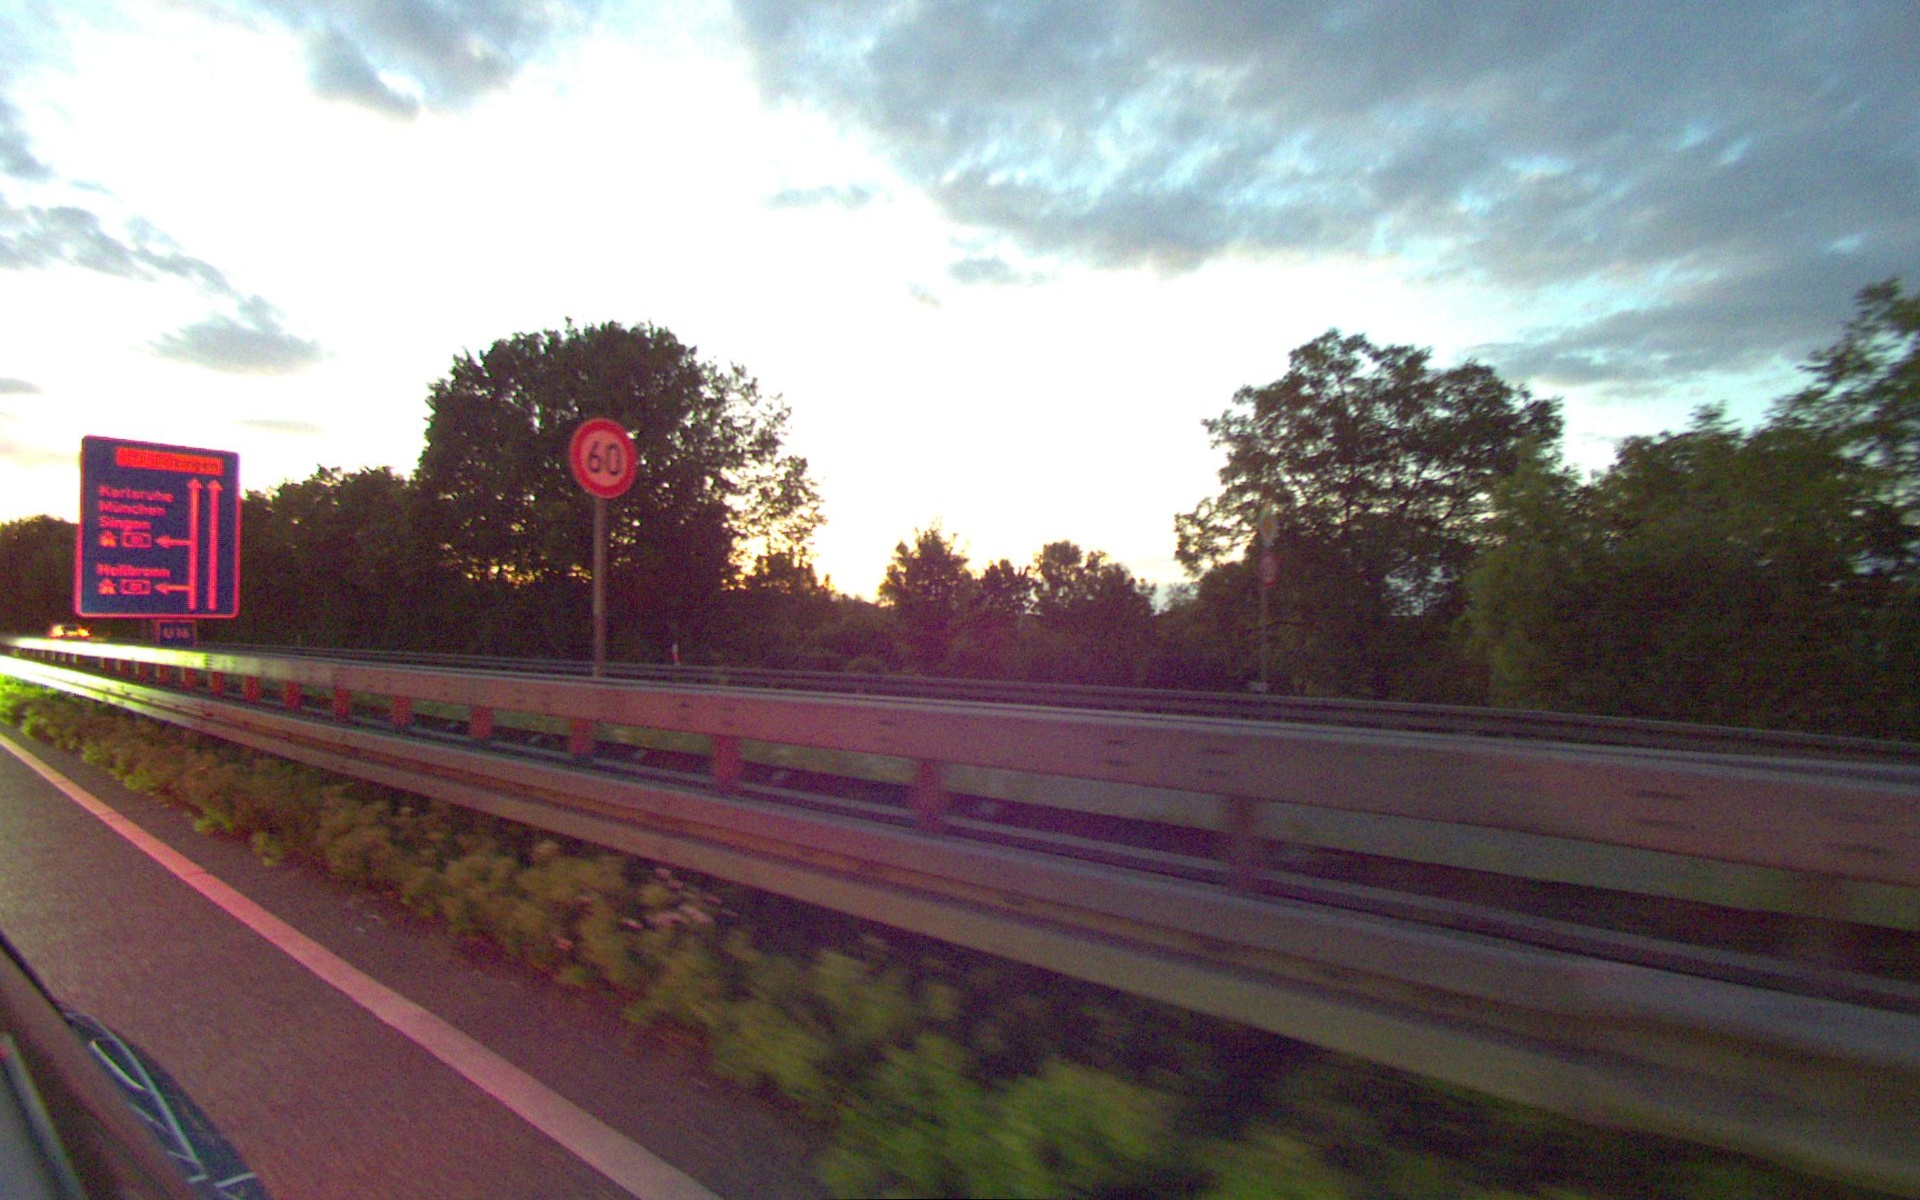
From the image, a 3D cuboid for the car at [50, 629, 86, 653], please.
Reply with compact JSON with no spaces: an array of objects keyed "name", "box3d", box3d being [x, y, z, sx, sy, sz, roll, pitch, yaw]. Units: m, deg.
[{"name":"car","box3d":[-65.569,2.987,74.360,1.773,1.684,4.505,1,-2,-44]}]
